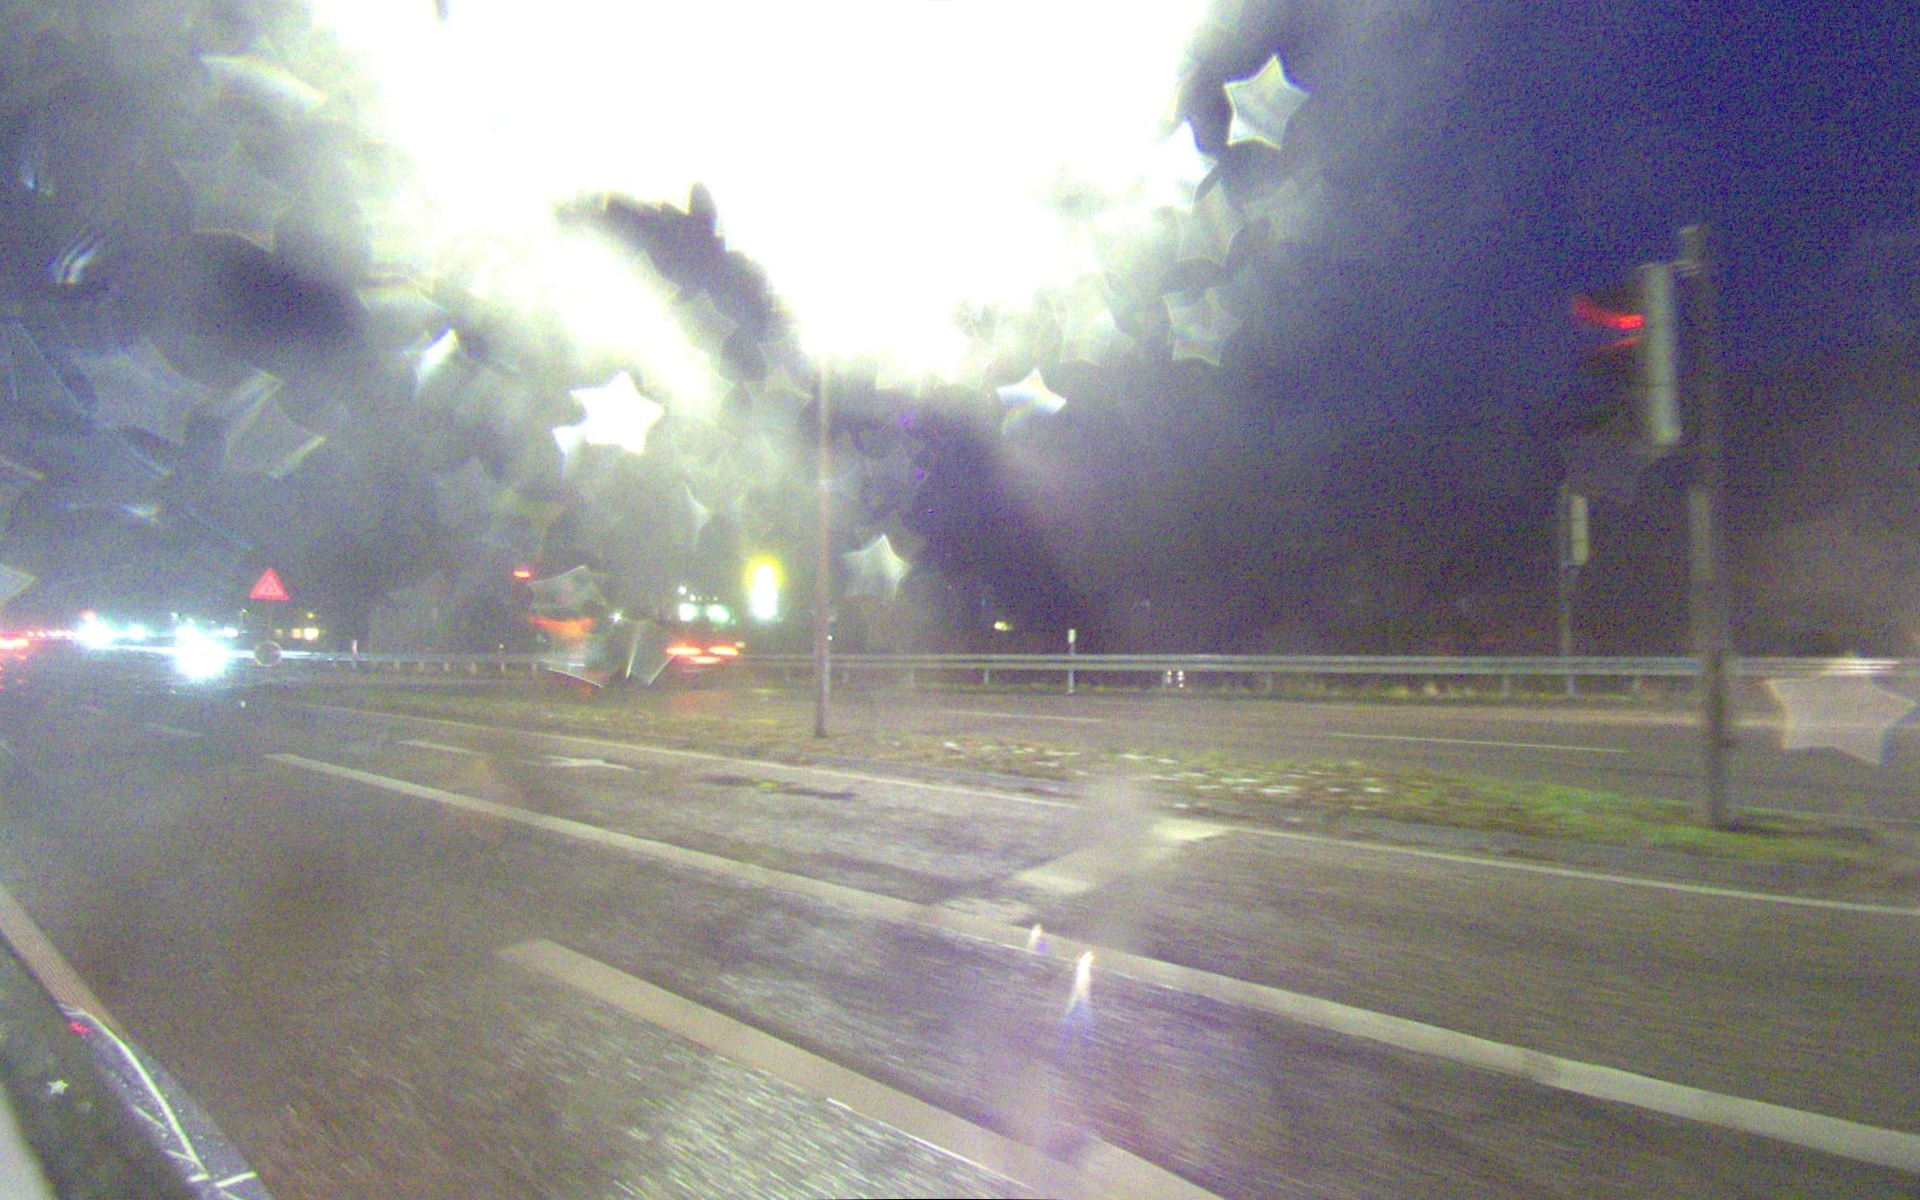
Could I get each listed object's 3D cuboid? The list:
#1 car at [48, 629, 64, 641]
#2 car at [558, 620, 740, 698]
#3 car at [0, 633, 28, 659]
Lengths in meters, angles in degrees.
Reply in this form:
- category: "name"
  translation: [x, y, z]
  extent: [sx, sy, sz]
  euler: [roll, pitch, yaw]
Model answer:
- category: "car"
  translation: [-164.219, 6.402, 183.849]
  extent: [1.969, 2.029, 4.006]
  euler: [1, -1, -41]
- category: "car"
  translation: [-7.439, 1.324, 24.031]
  extent: [4.495, 1.665, 1.693]
  euler: [0, -1, 34]
- category: "car"
  translation: [-67.806, 3.264, 71.886]
  extent: [4.579, 1.713, 2.065]
  euler: [-1, -1, 44]
